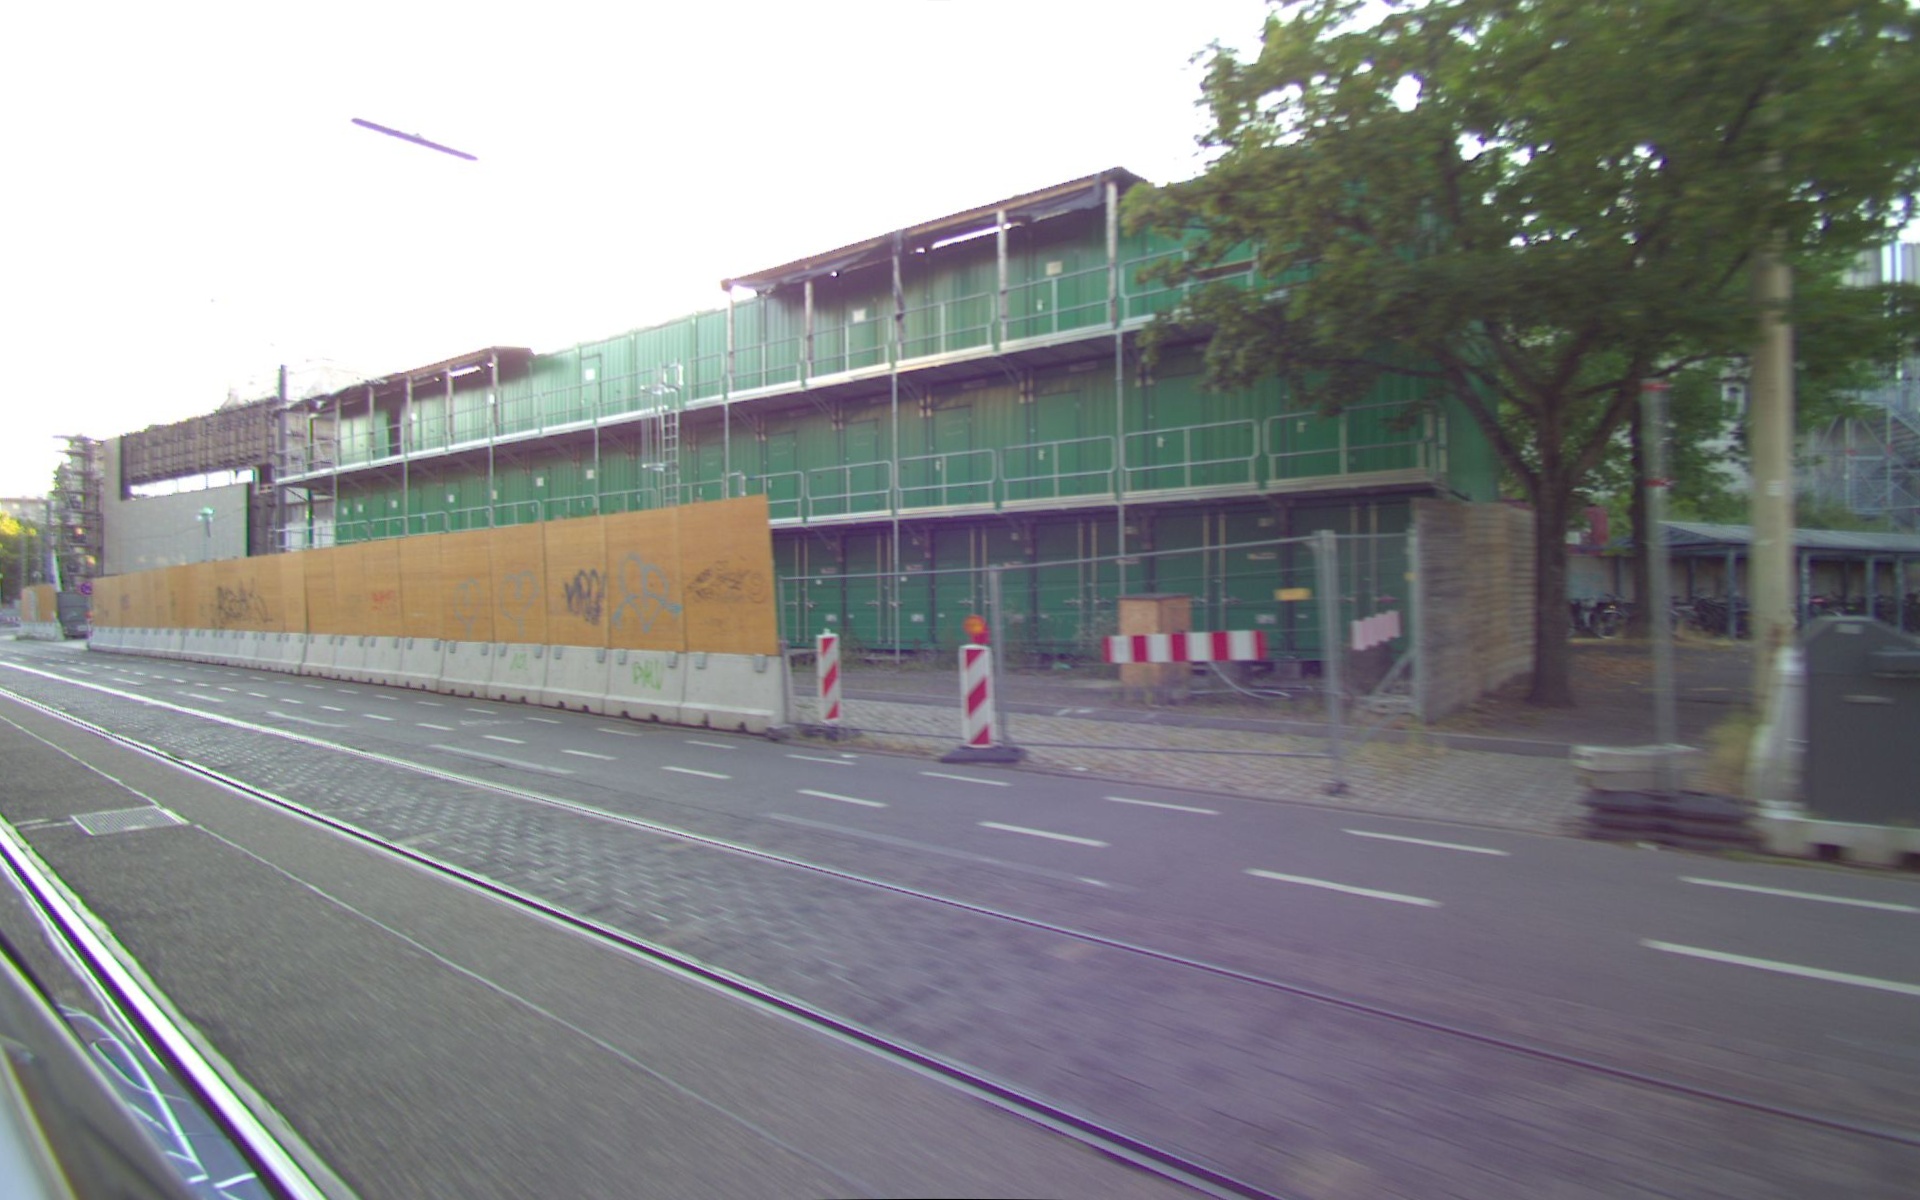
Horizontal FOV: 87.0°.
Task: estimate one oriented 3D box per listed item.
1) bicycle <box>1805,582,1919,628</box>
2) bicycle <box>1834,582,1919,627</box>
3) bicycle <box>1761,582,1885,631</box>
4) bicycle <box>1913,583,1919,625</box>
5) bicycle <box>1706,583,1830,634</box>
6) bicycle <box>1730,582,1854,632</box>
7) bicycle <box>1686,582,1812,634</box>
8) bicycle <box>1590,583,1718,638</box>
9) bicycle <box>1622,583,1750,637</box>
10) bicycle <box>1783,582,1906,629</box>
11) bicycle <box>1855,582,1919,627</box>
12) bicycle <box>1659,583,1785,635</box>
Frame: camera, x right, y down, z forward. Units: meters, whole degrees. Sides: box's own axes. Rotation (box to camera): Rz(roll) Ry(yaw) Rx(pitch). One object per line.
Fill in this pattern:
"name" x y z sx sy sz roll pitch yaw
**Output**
"bicycle" 24.129 0.140 26.999 0.798 1.191 2.271 -1 0 -33
"bicycle" 25.115 0.127 27.228 0.798 1.191 2.271 -1 0 -33
"bicycle" 22.139 0.167 26.026 0.798 1.191 2.271 -1 0 -33
"bicycle" 28.170 0.087 28.149 0.798 1.191 2.271 -1 0 -33
"bicycle" 20.148 0.218 25.286 0.798 1.191 2.271 -1 0 -33
"bicycle" 21.061 0.181 25.667 0.798 1.191 2.271 -1 0 -33
"bicycle" 19.274 0.201 24.775 0.798 1.191 2.271 -1 0 -33
"bicycle" 15.907 0.243 23.254 0.798 1.191 2.271 -1 0 -33
"bicycle" 16.831 0.231 23.533 0.798 1.191 2.271 -1 0 -33
"bicycle" 23.176 0.153 26.572 0.798 1.191 2.271 -1 0 -33
"bicycle" 25.939 0.117 27.494 0.798 1.191 2.271 -1 0 -33
"bicycle" 18.251 0.212 24.296 0.798 1.191 2.271 -1 0 -33
